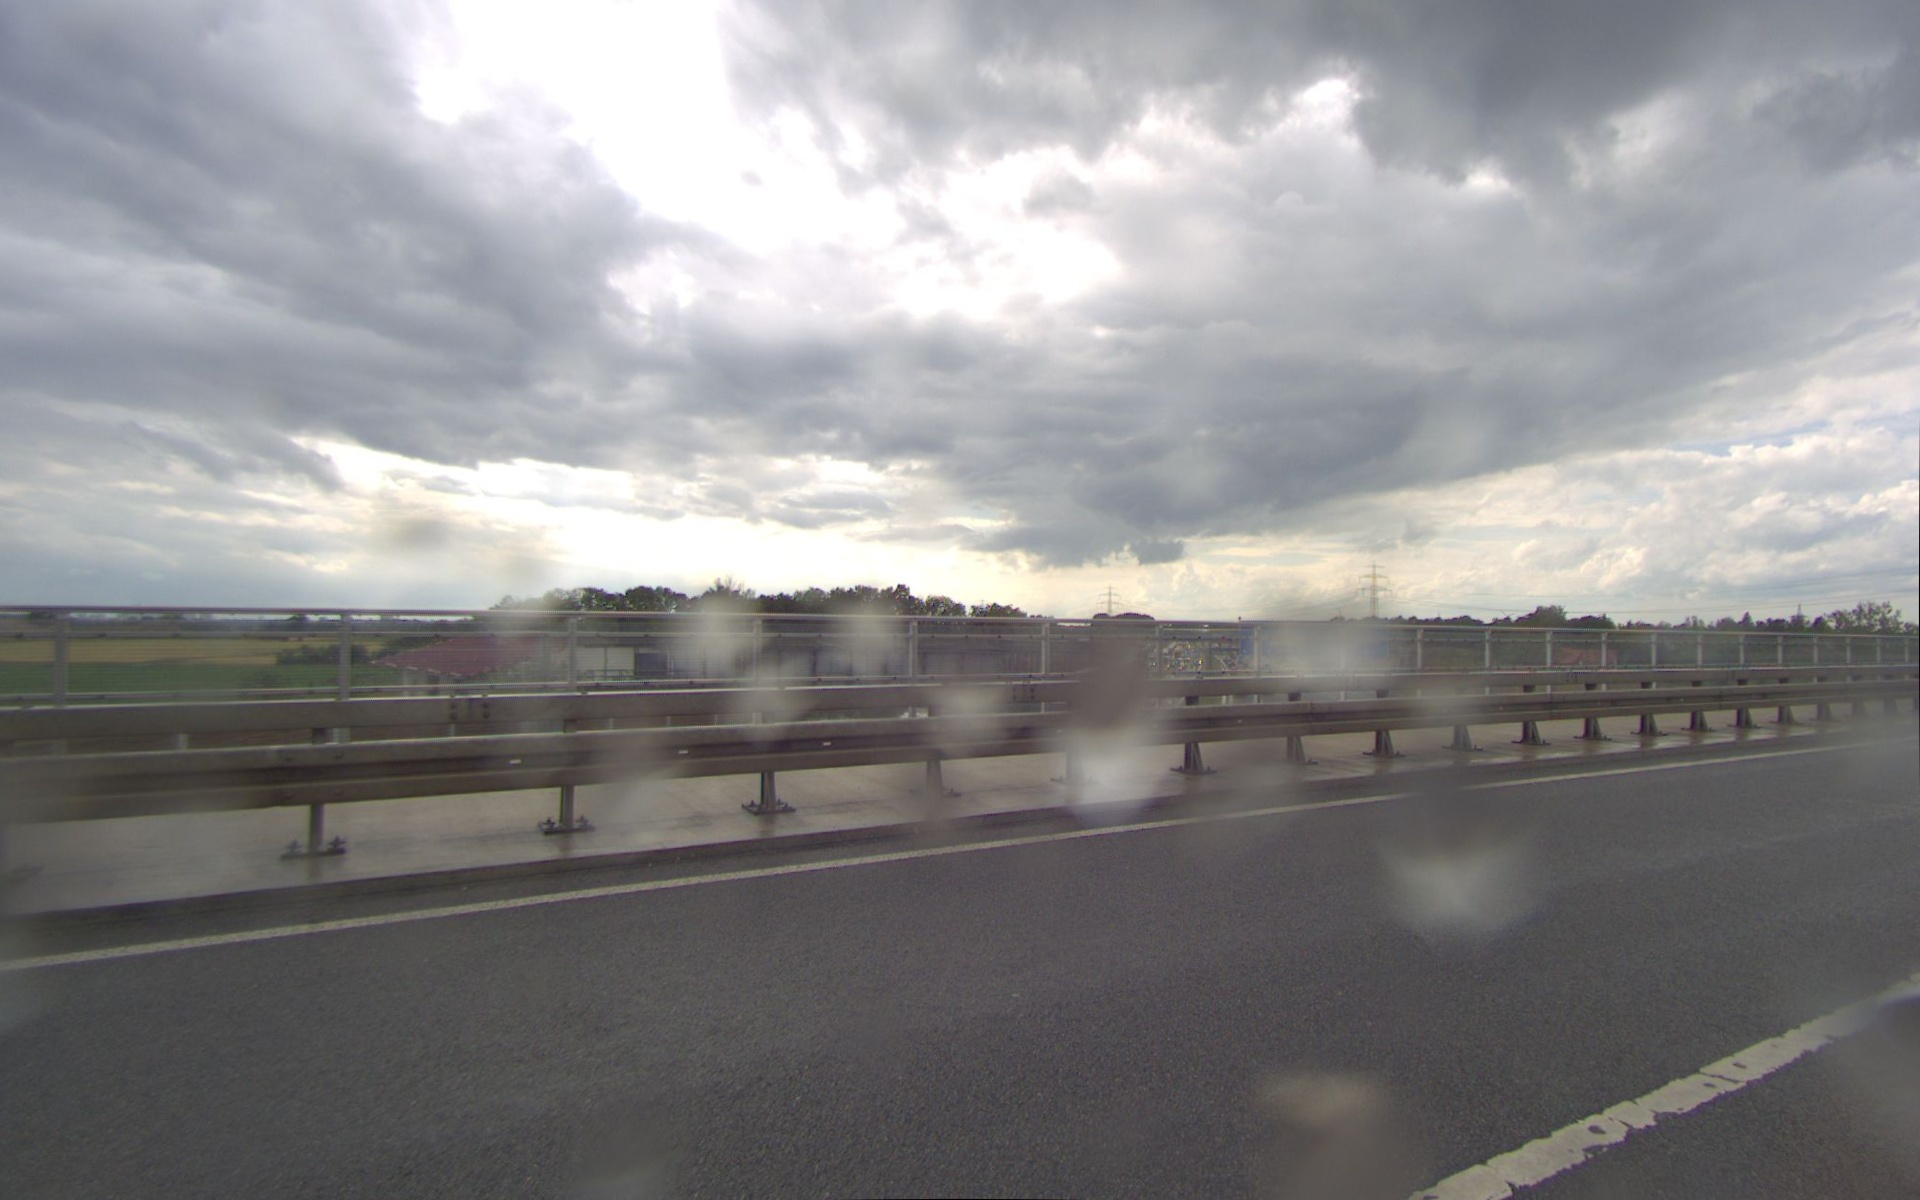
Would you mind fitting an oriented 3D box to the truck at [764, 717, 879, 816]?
[{"bbox_3d":[-7.948,9.655,59.818,2.388,4.055,11.174,2,0,16],"label":"truck"}]

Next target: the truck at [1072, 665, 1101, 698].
[{"bbox_3d":[17.820,11.335,140.623,2.388,3.812,11.175,2,0,15],"label":"truck"}]
